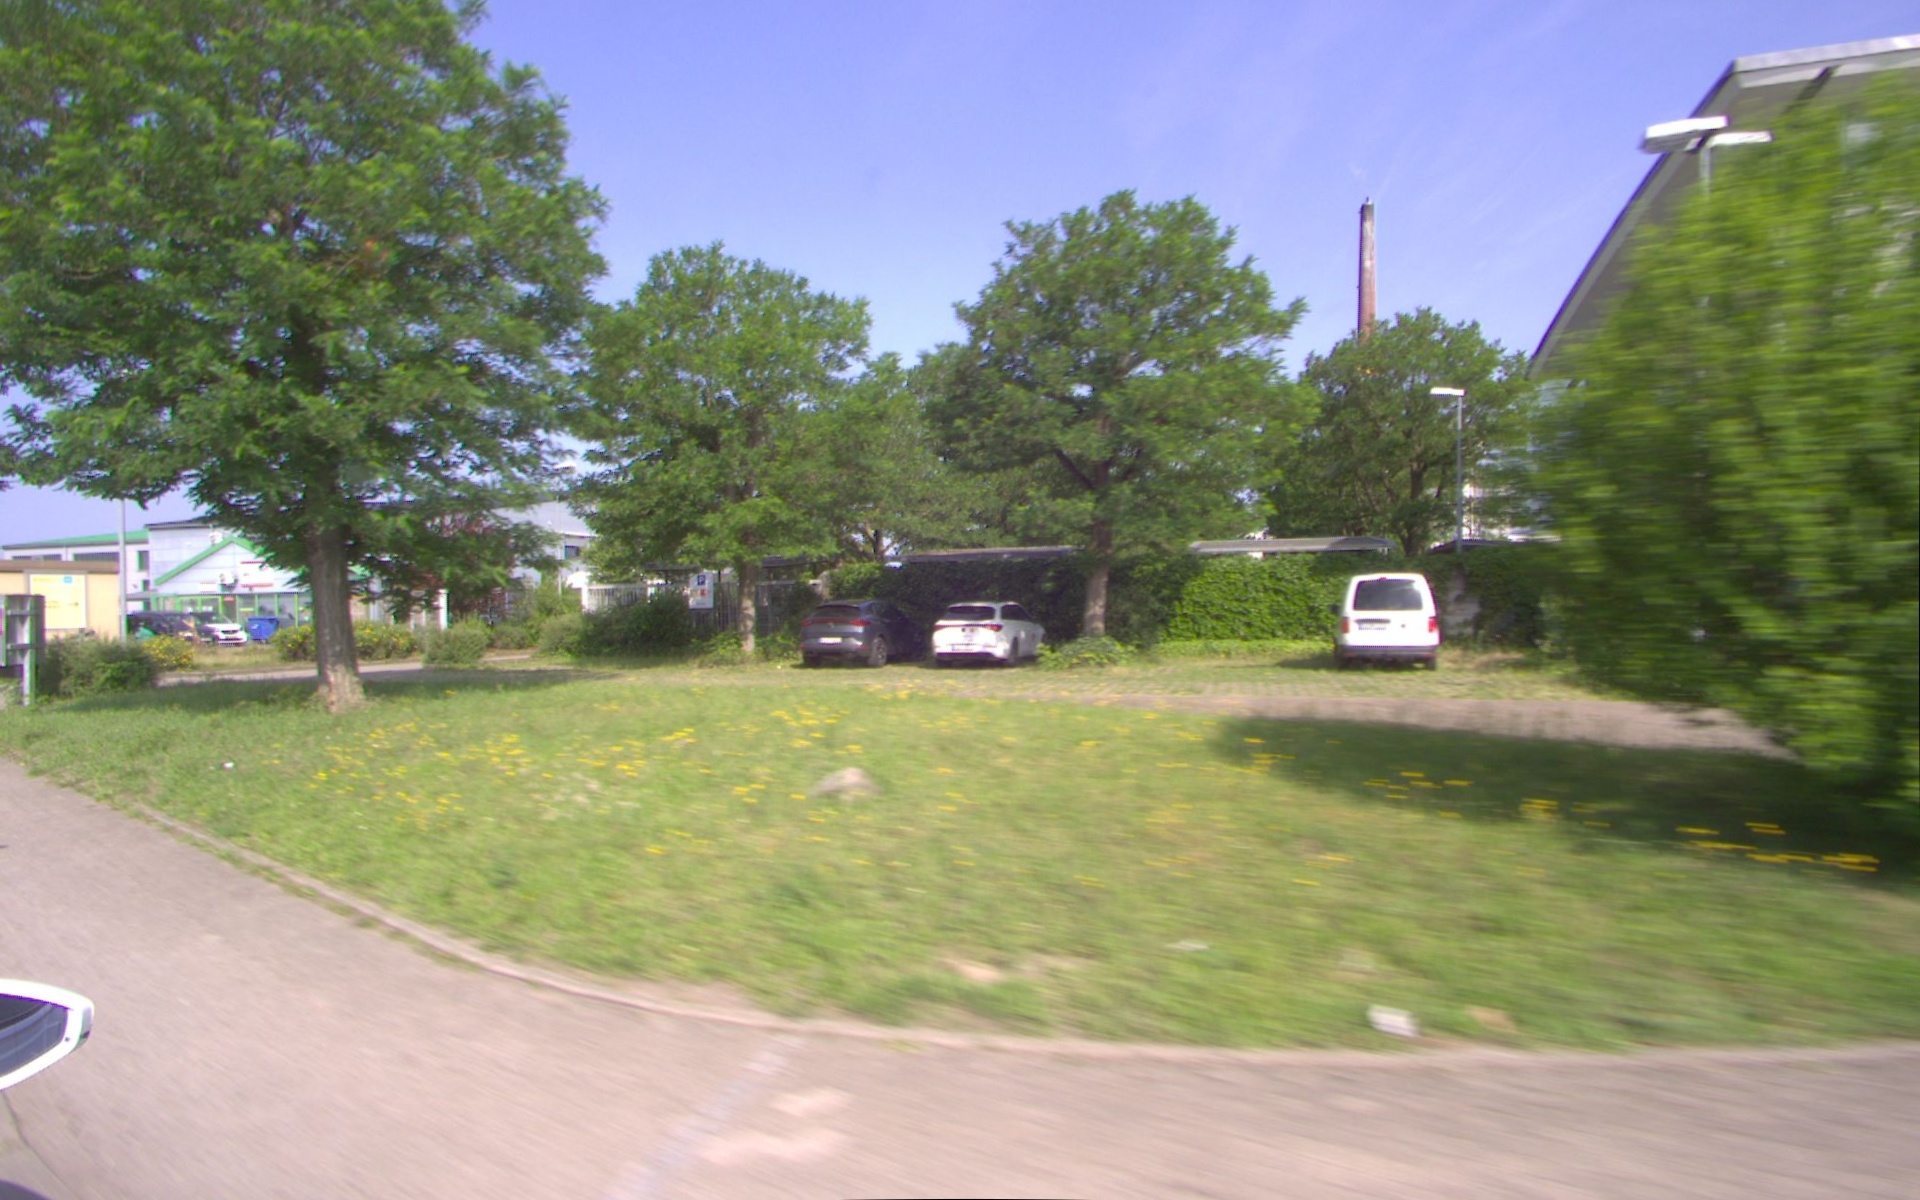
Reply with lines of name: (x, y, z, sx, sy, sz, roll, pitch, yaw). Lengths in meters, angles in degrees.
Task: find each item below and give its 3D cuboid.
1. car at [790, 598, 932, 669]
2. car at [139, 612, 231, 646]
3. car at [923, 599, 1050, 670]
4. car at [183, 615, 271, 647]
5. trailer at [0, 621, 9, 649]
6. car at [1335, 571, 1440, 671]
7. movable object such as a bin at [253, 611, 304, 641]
car: (-2.183, 0.700, 23.214, 1.768, 1.483, 4.034, 0, 0, 19)
car: (-32.960, 1.223, 42.607, 3.131, 1.363, 1.582, -1, 0, 17)
car: (0.698, 0.709, 22.415, 1.711, 1.424, 4.034, 0, 0, 19)
car: (-32.736, 1.373, 44.736, 3.131, 1.363, 1.582, 0, 0, 17)
trailer: (-44.999, 1.573, 45.289, 2.921, 1.264, 1.494, 0, -1, 13)
car: (8.344, 0.387, 19.804, 1.723, 1.773, 3.905, 0, 0, 20)
movable object such as a bin: (-32.323, 1.233, 47.514, 1.972, 1.363, 0.998, 0, 1, 17)
